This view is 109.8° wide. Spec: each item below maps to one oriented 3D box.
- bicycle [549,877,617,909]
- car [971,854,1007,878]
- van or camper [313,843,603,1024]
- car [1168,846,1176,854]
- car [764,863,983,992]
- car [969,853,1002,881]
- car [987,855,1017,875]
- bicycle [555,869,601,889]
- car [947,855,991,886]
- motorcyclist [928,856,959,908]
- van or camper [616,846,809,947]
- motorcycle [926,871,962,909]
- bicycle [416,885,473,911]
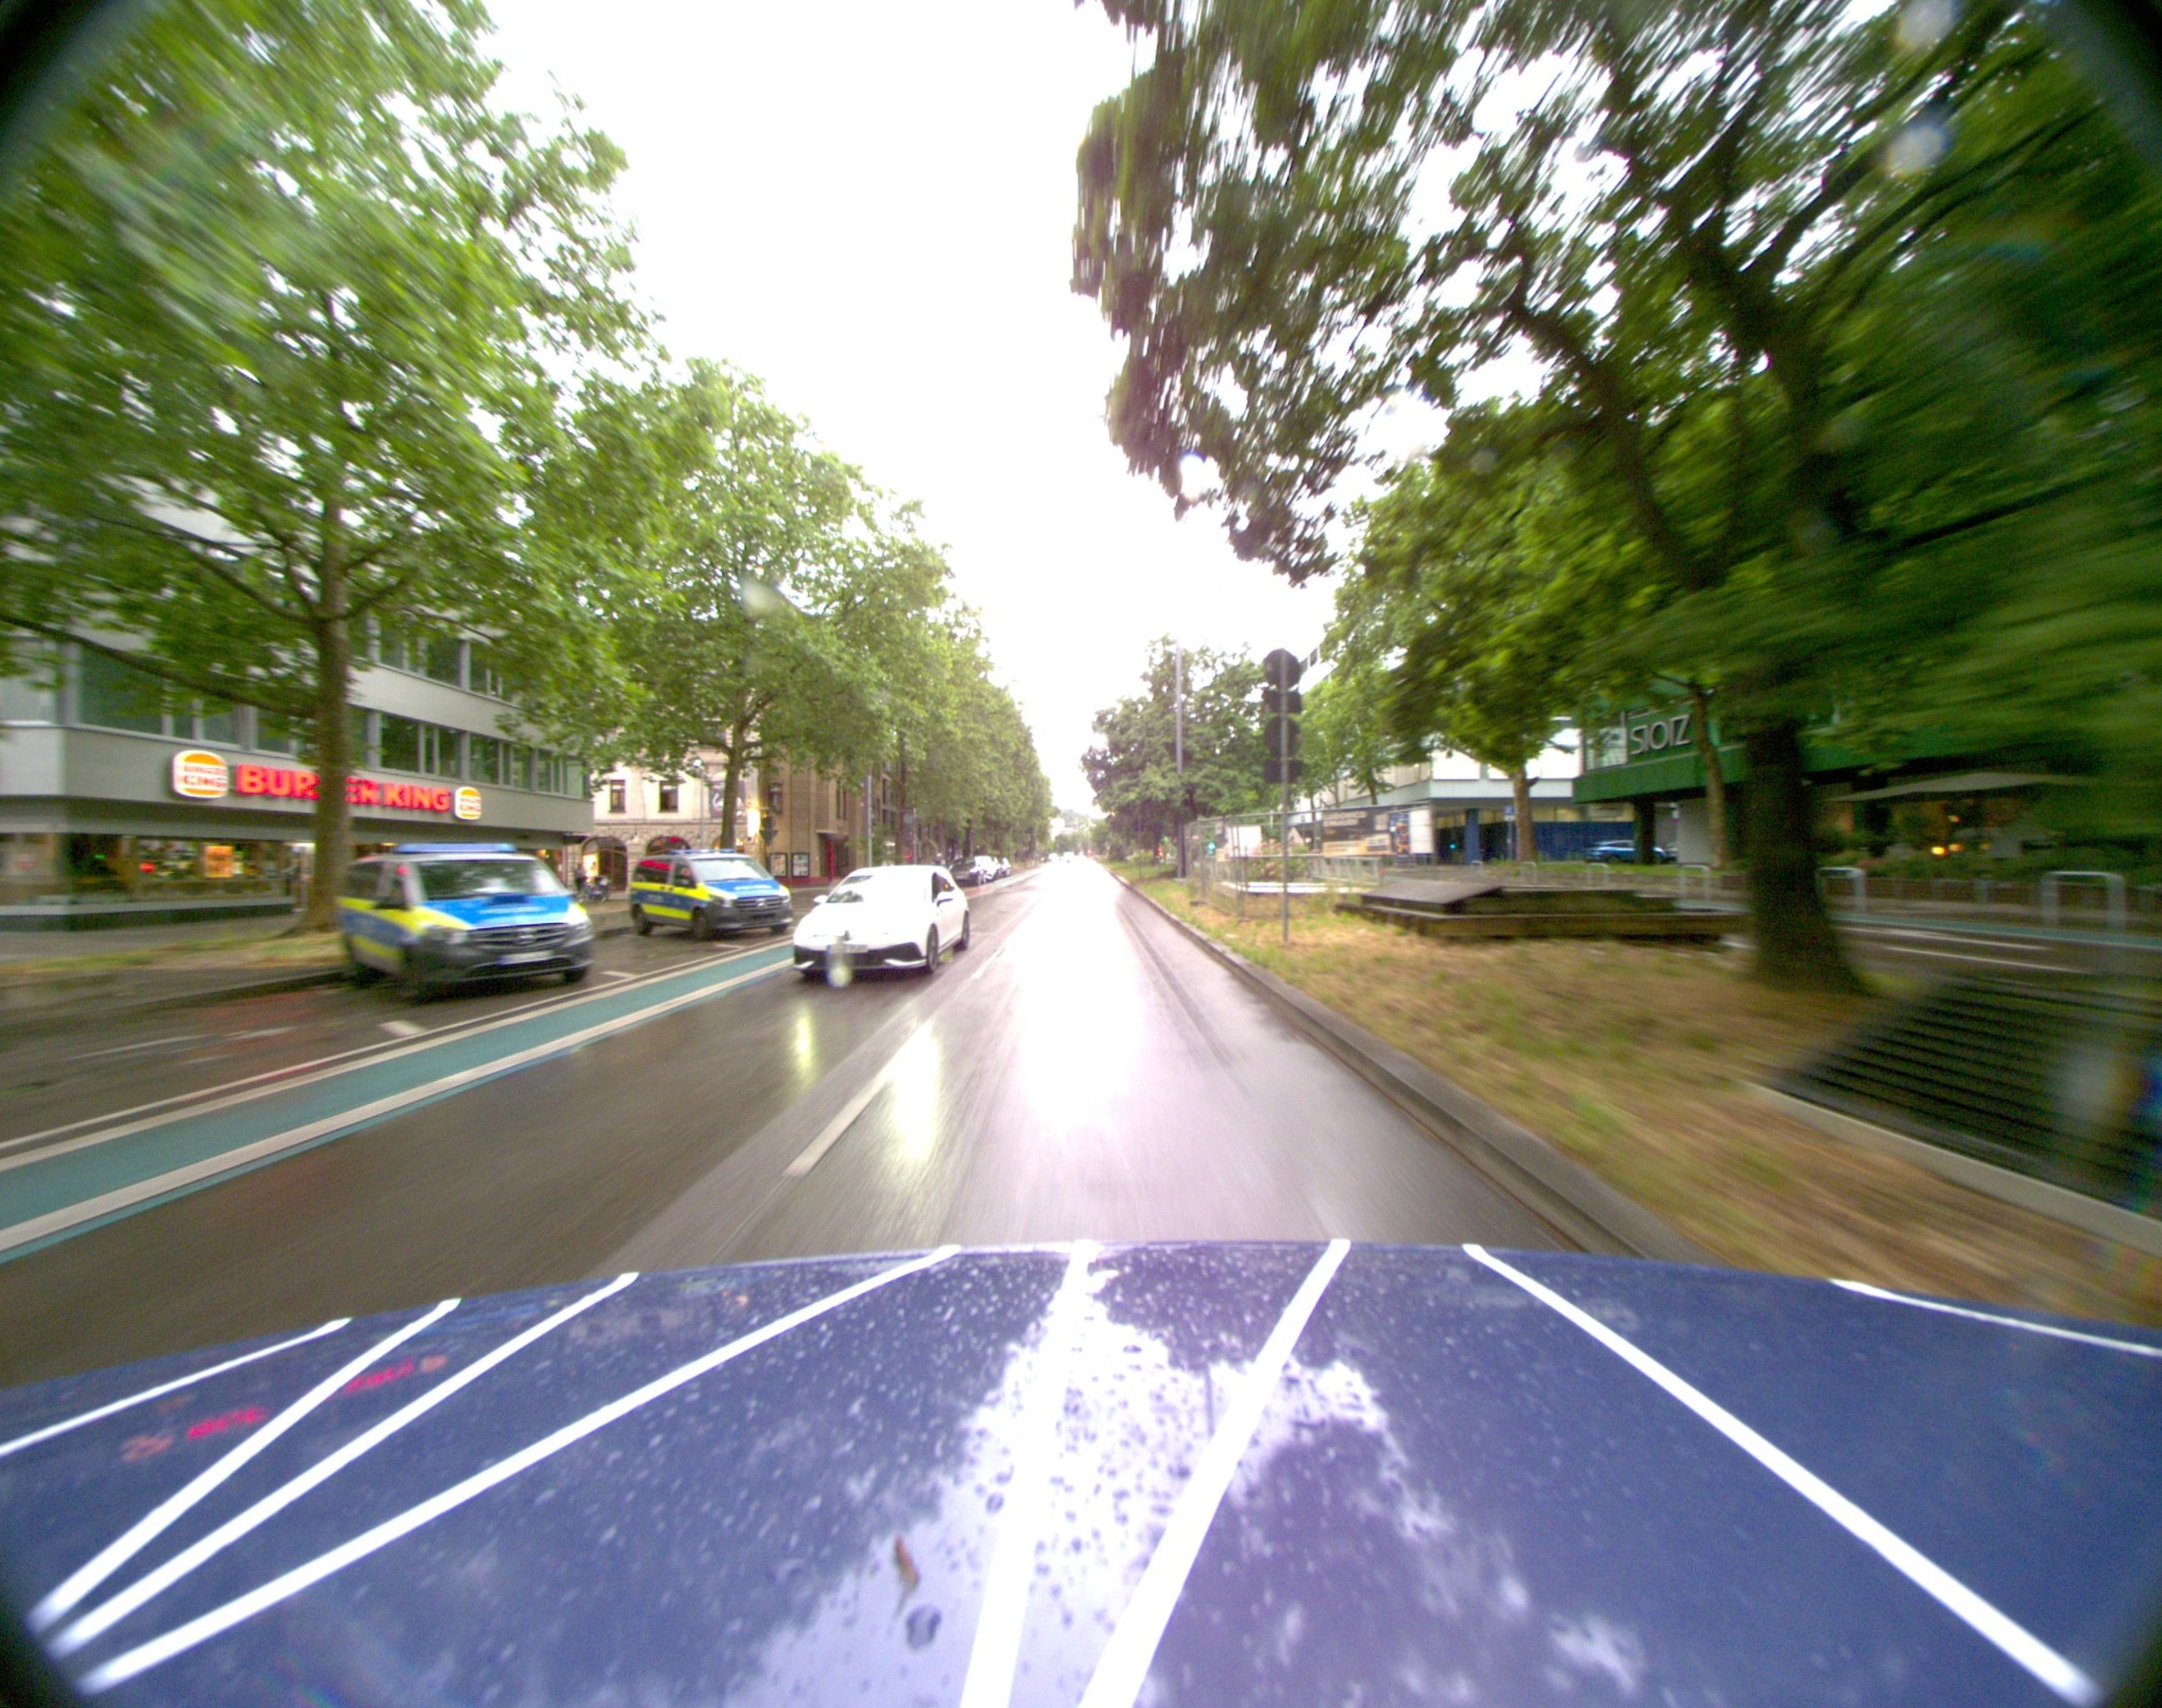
[{"bbox_3d":[-18.091,1.431,27.649,0.642,0.917,1.916,41,0,7],"label":"bicycle"},{"bbox_3d":[-6.394,0.802,53.128,1.999,1.580,4.559,-2,0,-2],"label":"car"},{"bbox_3d":[-9.064,0.958,10.889,5.074,2.007,2.001,-2,1,37],"label":"van or camper"},{"bbox_3d":[16.692,-0.683,138.809,1.163,1.454,3.561,0,0,3],"label":"car"},{"bbox_3d":[-2.818,0.923,11.505,1.866,1.436,4.509,-2,0,3],"label":"car"},{"bbox_3d":[-5.984,0.787,48.052,1.756,1.576,4.408,-2,0,-4],"label":"car"},{"bbox_3d":[-6.066,0.812,58.663,1.747,1.424,4.585,-2,1,1],"label":"car"},{"bbox_3d":[-25.894,1.288,39.148,1.971,0.932,0.625,-2,1,4],"label":"bicycle"},{"bbox_3d":[-6.276,0.879,42.945,1.797,1.593,4.423,-2,1,-1],"label":"car"},{"bbox_3d":[-4.492,0.905,24.797,0.850,1.635,0.870,-2,1,-17],"label":"motorcyclist"},{"bbox_3d":[-8.633,0.902,17.599,4.933,1.980,2.006,-2,1,39],"label":"van or camper"},{"bbox_3d":[-4.494,1.145,24.831,0.869,1.136,2.019,-2,0,-17],"label":"motorcycle"},{"bbox_3d":[-23.139,1.596,27.677,0.643,0.814,1.912,-1,0,-8],"label":"bicycle"}]
